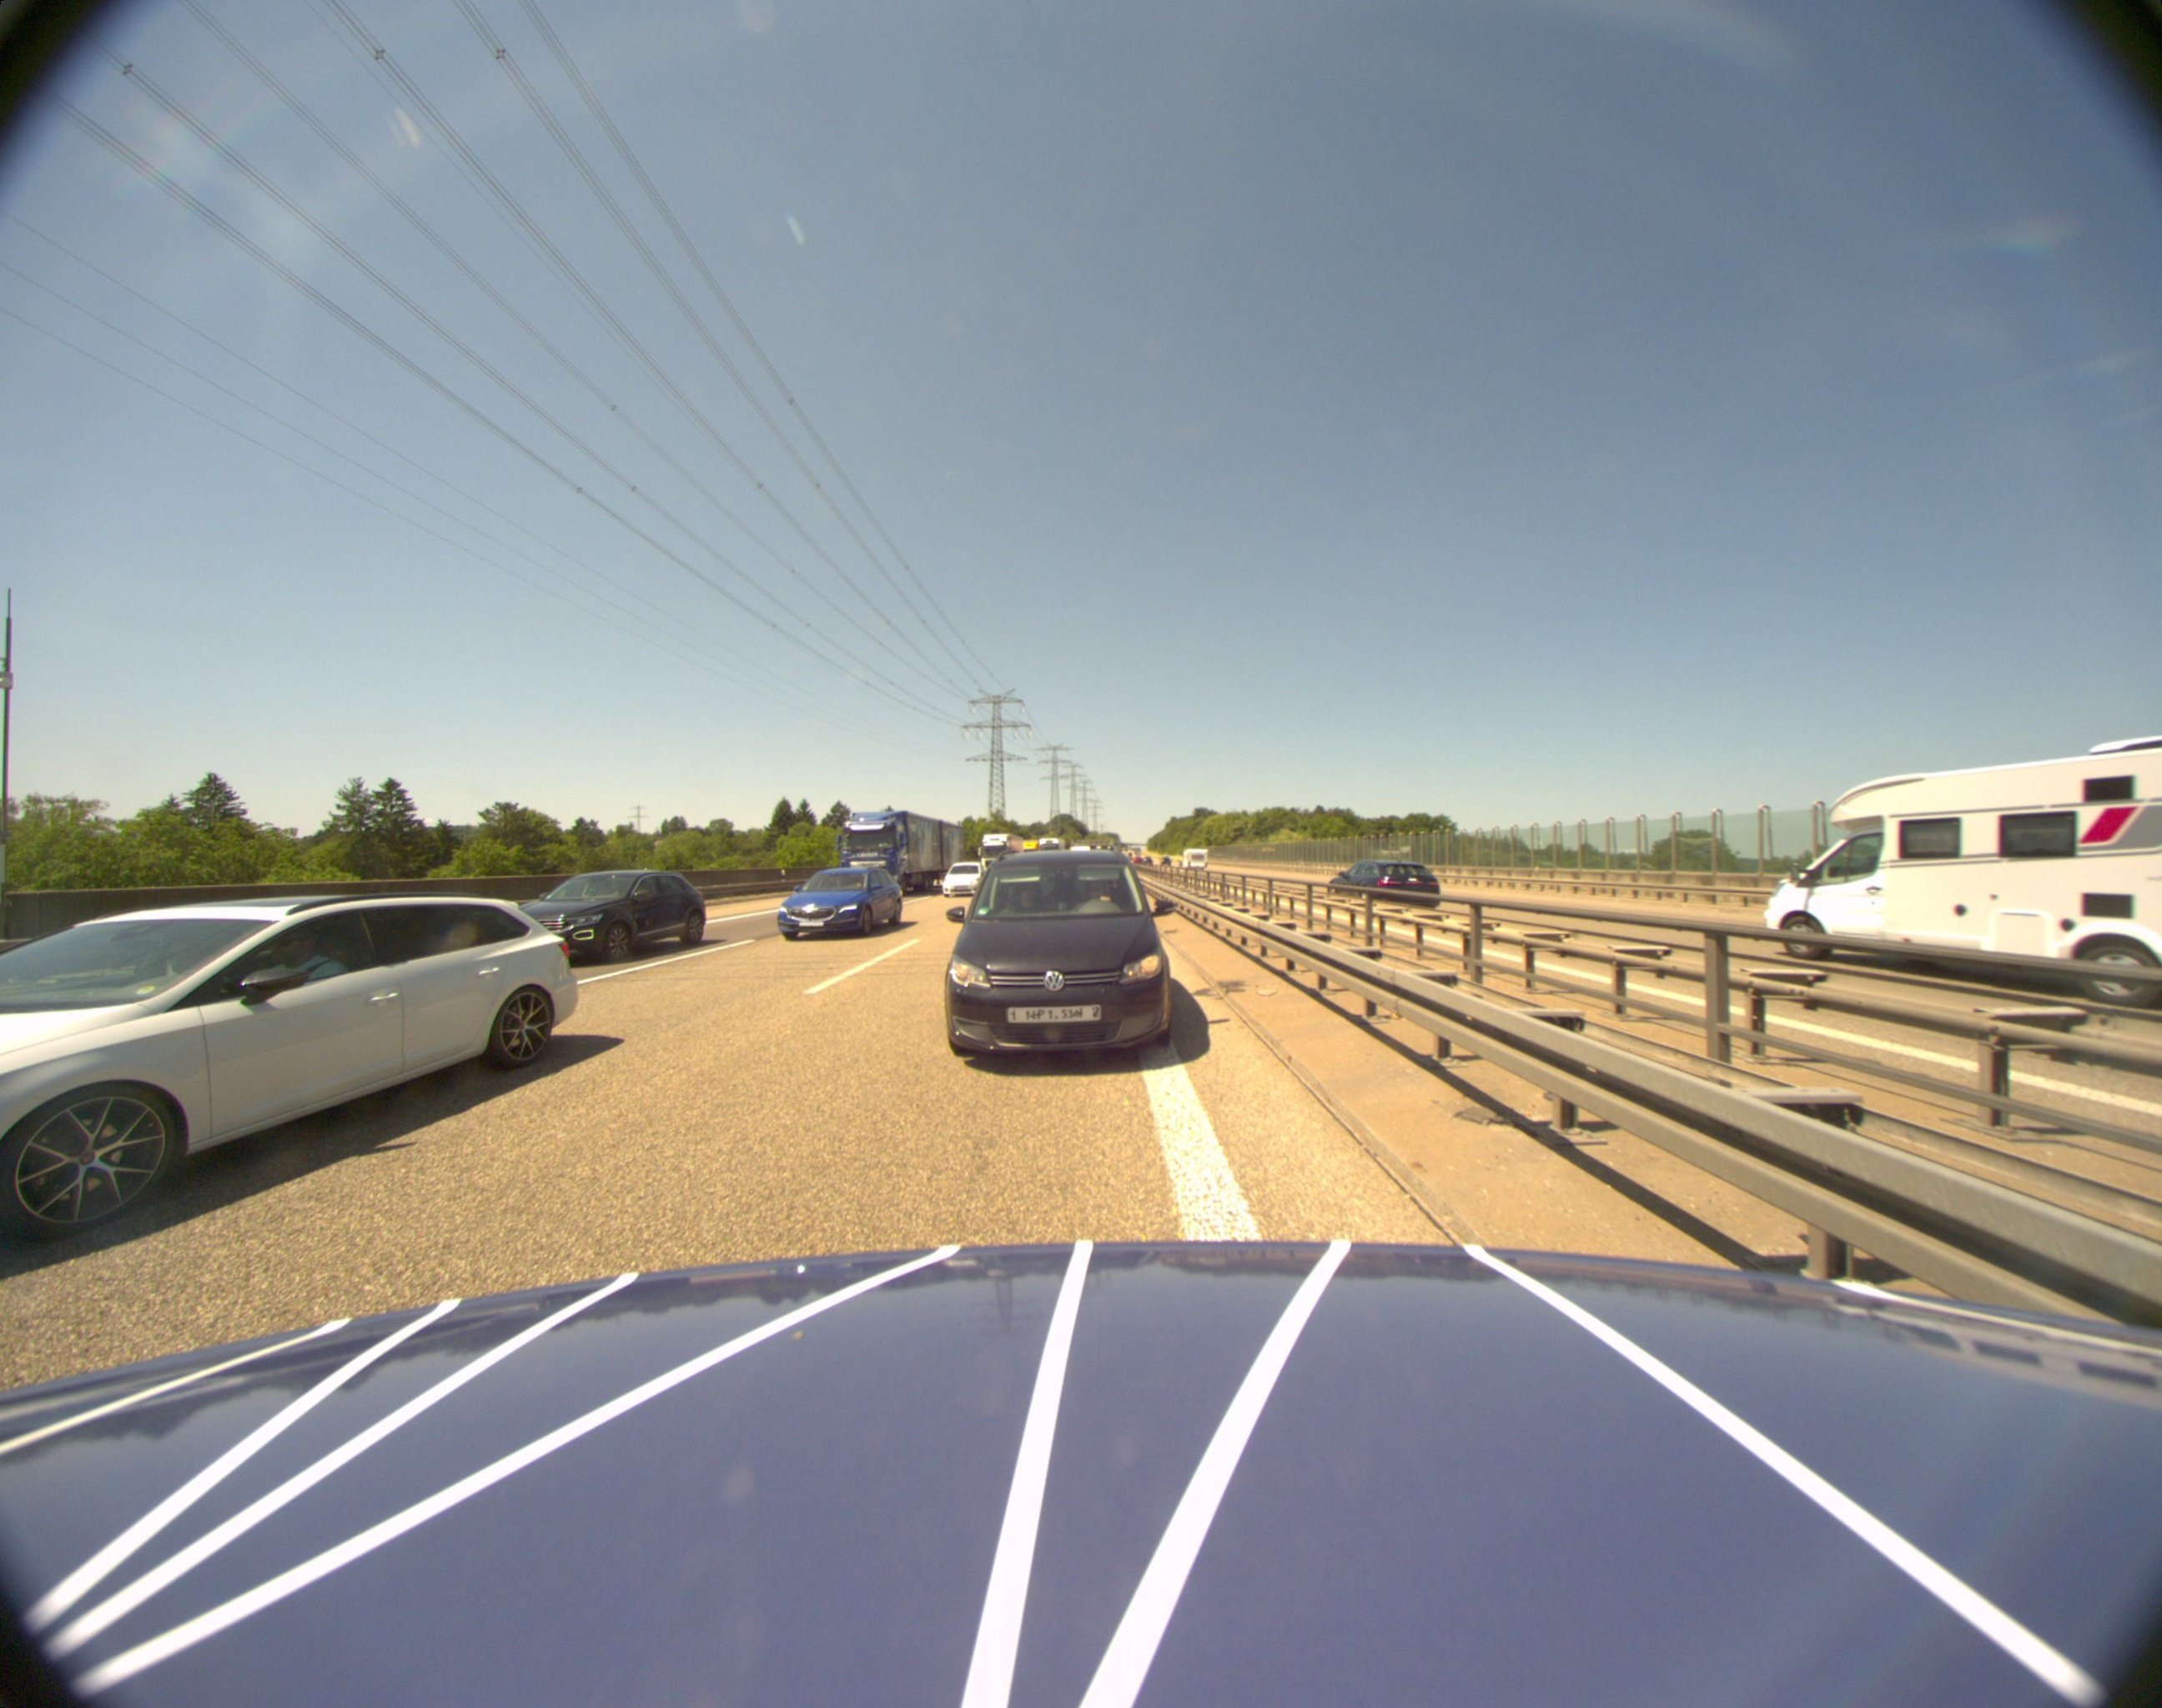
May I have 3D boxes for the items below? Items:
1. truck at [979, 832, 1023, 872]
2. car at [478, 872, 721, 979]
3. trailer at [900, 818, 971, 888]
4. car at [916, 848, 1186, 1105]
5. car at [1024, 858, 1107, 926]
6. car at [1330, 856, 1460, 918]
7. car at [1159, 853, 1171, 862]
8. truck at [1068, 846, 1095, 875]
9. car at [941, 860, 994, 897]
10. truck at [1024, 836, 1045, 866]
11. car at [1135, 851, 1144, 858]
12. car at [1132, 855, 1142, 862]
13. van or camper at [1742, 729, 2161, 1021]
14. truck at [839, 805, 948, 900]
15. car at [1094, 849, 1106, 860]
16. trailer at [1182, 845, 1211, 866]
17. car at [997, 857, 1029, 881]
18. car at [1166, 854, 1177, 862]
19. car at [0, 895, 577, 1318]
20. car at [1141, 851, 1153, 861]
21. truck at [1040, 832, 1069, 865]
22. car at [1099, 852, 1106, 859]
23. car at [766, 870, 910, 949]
[{"bbox_3d":[-7.878,-0.219,76.131,2.985,3.538,10.967,-2,0,1],"label":"truck"},{"bbox_3d":[-8.513,1.167,13.951,1.740,1.518,4.106,-2,0,1],"label":"car"},{"bbox_3d":[-8.923,-0.087,47.689,2.572,3.922,8.479,-2,0,1],"label":"trailer"},{"bbox_3d":[-0.184,0.805,7.059,1.740,1.652,4.000,-2,0,0],"label":"car"},{"bbox_3d":[-0.328,0.866,19.297,1.845,1.495,4.377,-1,0,1],"label":"car"},{"bbox_3d":[8.726,0.843,21.593,1.872,1.523,4.424,2,0,1],"label":"car"},{"bbox_3d":[14.990,0.626,135.360,1.734,1.483,4.419,1,0,0],"label":"car"},{"bbox_3d":[0.101,0.531,70.370,2.284,2.479,5.861,-2,0,1],"label":"truck"},{"bbox_3d":[-4.995,1.064,34.010,1.763,1.495,4.094,-1,0,-1],"label":"car"},{"bbox_3d":[-6.829,-0.458,112.291,2.346,4.058,8.279,-2,0,1],"label":"truck"},{"bbox_3d":[11.864,0.112,154.252,1.672,1.439,4.001,2,0,2],"label":"car"},{"bbox_3d":[10.794,0.834,147.216,1.601,1.342,4.179,1,0,1],"label":"car"},{"bbox_3d":[12.354,0.231,9.308,2.428,3.006,7.027,1,0,1],"label":"van or camper"},{"bbox_3d":[-9.051,-0.100,38.198,2.529,4.043,10.447,-2,0,1],"label":"truck"},{"bbox_3d":[3.563,0.086,143.226,1.998,2.002,4.000,-2,0,1],"label":"car"},{"bbox_3d":[14.110,0.168,93.295,2.499,2.534,6.774,1,0,1],"label":"trailer"},{"bbox_3d":[-4.495,0.995,50.725,1.763,1.495,4.094,-1,0,0],"label":"car"},{"bbox_3d":[21.007,0.857,177.163,1.998,1.874,5.256,1,0,0],"label":"car"},{"bbox_3d":[-5.256,1.131,4.473,1.843,1.481,4.072,-2,0,-1],"label":"car"},{"bbox_3d":[10.833,0.317,124.754,1.672,1.439,4.001,2,0,2],"label":"car"},{"bbox_3d":[-3.251,-0.650,95.562,2.980,3.832,10.562,-2,0,1],"label":"truck"},{"bbox_3d":[6.347,0.390,224.743,1.805,2.002,4.000,-1,0,1],"label":"car"},{"bbox_3d":[-5.285,1.150,17.173,1.739,1.437,4.211,-1,0,2],"label":"car"}]
